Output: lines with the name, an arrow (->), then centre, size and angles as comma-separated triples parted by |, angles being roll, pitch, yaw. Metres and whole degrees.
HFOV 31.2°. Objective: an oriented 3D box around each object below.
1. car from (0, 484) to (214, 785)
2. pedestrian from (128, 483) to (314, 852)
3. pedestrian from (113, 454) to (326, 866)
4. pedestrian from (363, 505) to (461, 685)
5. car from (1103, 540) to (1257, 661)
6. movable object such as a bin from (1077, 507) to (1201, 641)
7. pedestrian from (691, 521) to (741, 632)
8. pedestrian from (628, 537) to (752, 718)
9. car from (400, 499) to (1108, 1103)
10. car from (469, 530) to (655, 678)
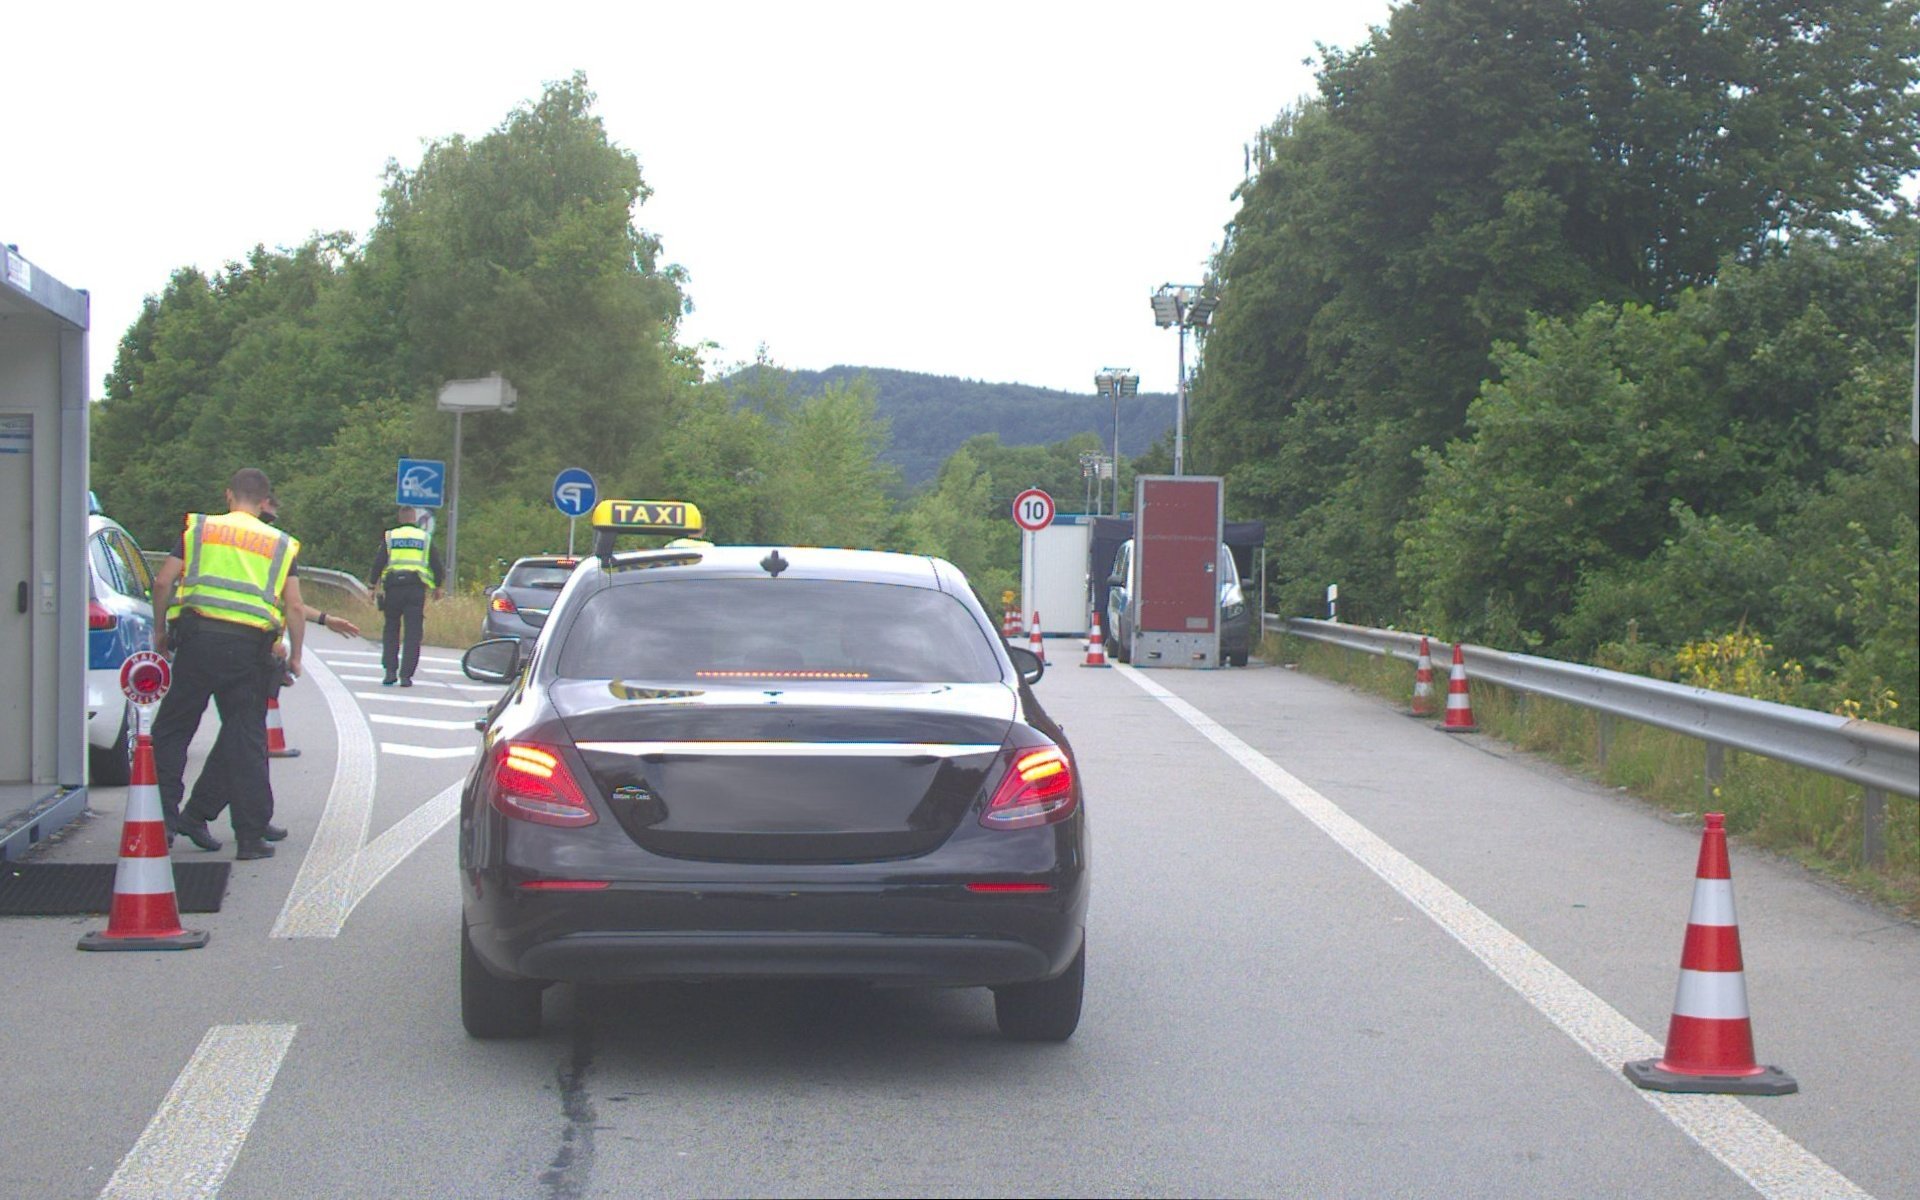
car -> -5.936, 0.157, 21.879 | 1.868, 1.737, 4.009 | 1, 1, -6
pedestrian -> -3.506, 0.308, 16.358 | 0.815, 1.712, 0.763 | 0, 1, -9
pedestrian -> -3.362, 0.261, 15.657 | 0.812, 1.824, 0.809 | 0, 1, -2
pedestrian -> -5.485, -0.055, 34.353 | 0.908, 1.763, 0.914 | 1, 1, -11
car -> 3.313, -0.036, 52.572 | 1.916, 1.672, 5.083 | 3, 1, 0
movable object such as a bin -> 3.166, -0.487, 61.410 | 1.993, 2.272, 4.168 | 1, 1, 0
pedestrian -> -4.305, -0.417, 60.735 | 0.664, 1.954, 0.759 | 1, 1, 14
pedestrian -> -2.575, 0.253, 32.723 | 0.908, 1.692, 0.914 | 1, 1, -23
car -> -0.690, 0.497, 11.301 | 1.855, 1.589, 4.376 | 1, 1, -4
car -> -4.264, 0.005, 37.373 | 1.855, 1.493, 4.257 | 1, 1, -5
